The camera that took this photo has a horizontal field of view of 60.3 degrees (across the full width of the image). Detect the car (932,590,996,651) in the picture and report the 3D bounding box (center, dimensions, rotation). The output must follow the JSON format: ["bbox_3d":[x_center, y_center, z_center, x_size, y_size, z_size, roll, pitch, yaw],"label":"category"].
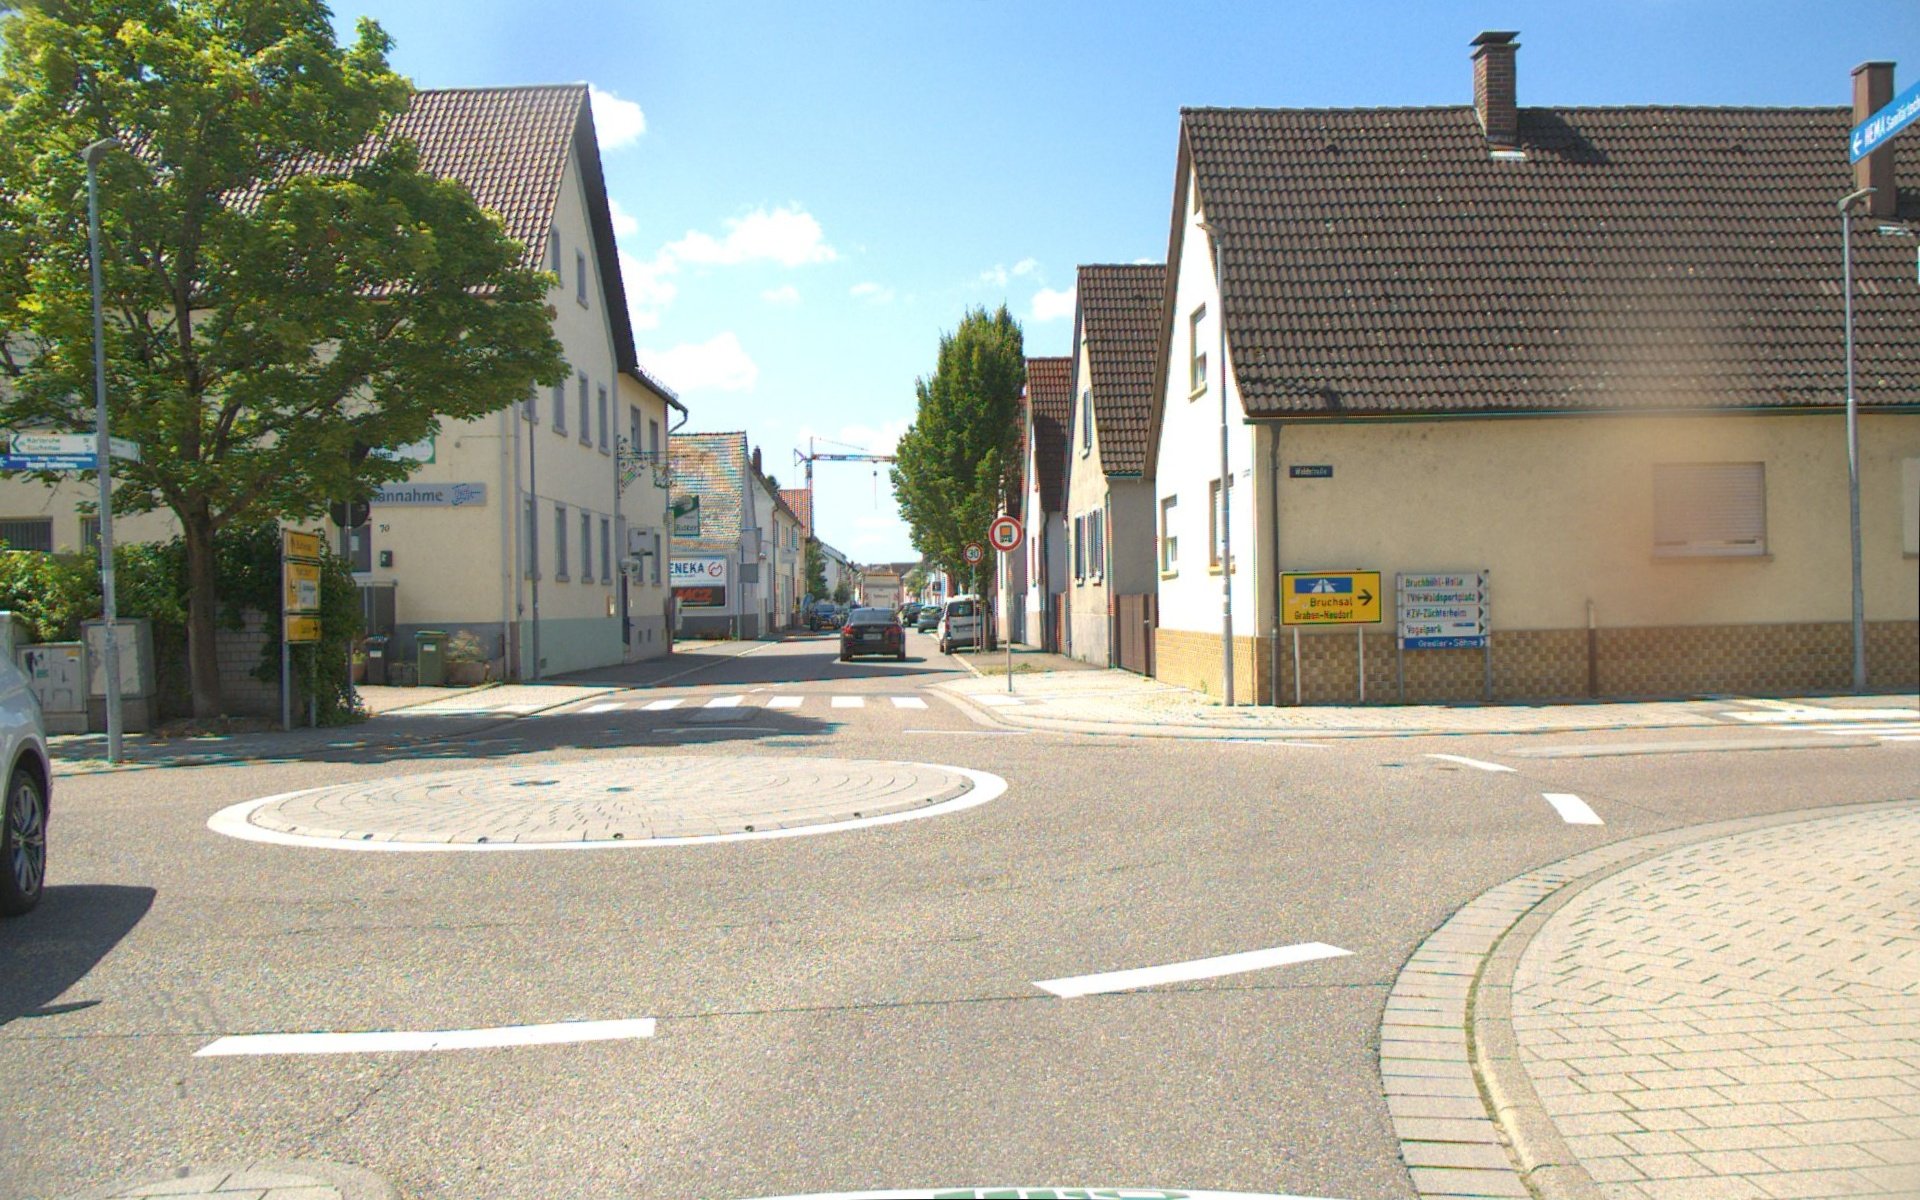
[{"bbox_3d":[0.094,0.655,53.588,1.686,1.821,4.140,-2,0,-4],"label":"car"}]

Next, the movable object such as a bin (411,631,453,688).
[{"bbox_3d":[-10.479,1.168,32.842,0.587,1.097,0.658,-1,0,0],"label":"movable object such as a bin"}]

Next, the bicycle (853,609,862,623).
[{"bbox_3d":[-10.161,1.565,163.546,0.736,1.331,2.684,1,-1,-1],"label":"bicycle"}]

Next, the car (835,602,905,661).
[{"bbox_3d":[-2.520,0.868,47.292,1.863,1.591,4.475,-1,0,-2],"label":"car"}]

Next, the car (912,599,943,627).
[{"bbox_3d":[-1.763,0.704,90.236,1.684,1.487,4.155,-1,0,-1],"label":"car"}]

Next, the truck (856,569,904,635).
[{"bbox_3d":[-5.488,0.184,114.795,3.081,4.325,9.299,1,-1,-1],"label":"truck"}]

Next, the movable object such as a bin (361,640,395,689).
[{"bbox_3d":[-11.497,1.266,32.688,0.469,0.944,0.547,-1,0,0],"label":"movable object such as a bin"}]

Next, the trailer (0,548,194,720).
[{"bbox_3d":[-13.548,0.471,25.113,1.841,2.376,4.521,0,0,-2],"label":"trailer"}]

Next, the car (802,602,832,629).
[{"bbox_3d":[-8.977,0.956,104.211,1.773,1.617,3.997,-1,0,-3],"label":"car"}]

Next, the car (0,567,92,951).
[{"bbox_3d":[-5.098,0.760,6.628,1.835,1.739,4.524,-3,0,-15],"label":"car"}]

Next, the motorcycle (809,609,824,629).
[{"bbox_3d":[-8.723,1.131,100.353,0.829,1.190,2.467,1,-1,-4],"label":"motorcycle"}]

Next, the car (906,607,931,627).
[{"bbox_3d":[-2.994,1.188,118.604,1.685,1.379,4.154,-1,0,-2],"label":"car"}]
